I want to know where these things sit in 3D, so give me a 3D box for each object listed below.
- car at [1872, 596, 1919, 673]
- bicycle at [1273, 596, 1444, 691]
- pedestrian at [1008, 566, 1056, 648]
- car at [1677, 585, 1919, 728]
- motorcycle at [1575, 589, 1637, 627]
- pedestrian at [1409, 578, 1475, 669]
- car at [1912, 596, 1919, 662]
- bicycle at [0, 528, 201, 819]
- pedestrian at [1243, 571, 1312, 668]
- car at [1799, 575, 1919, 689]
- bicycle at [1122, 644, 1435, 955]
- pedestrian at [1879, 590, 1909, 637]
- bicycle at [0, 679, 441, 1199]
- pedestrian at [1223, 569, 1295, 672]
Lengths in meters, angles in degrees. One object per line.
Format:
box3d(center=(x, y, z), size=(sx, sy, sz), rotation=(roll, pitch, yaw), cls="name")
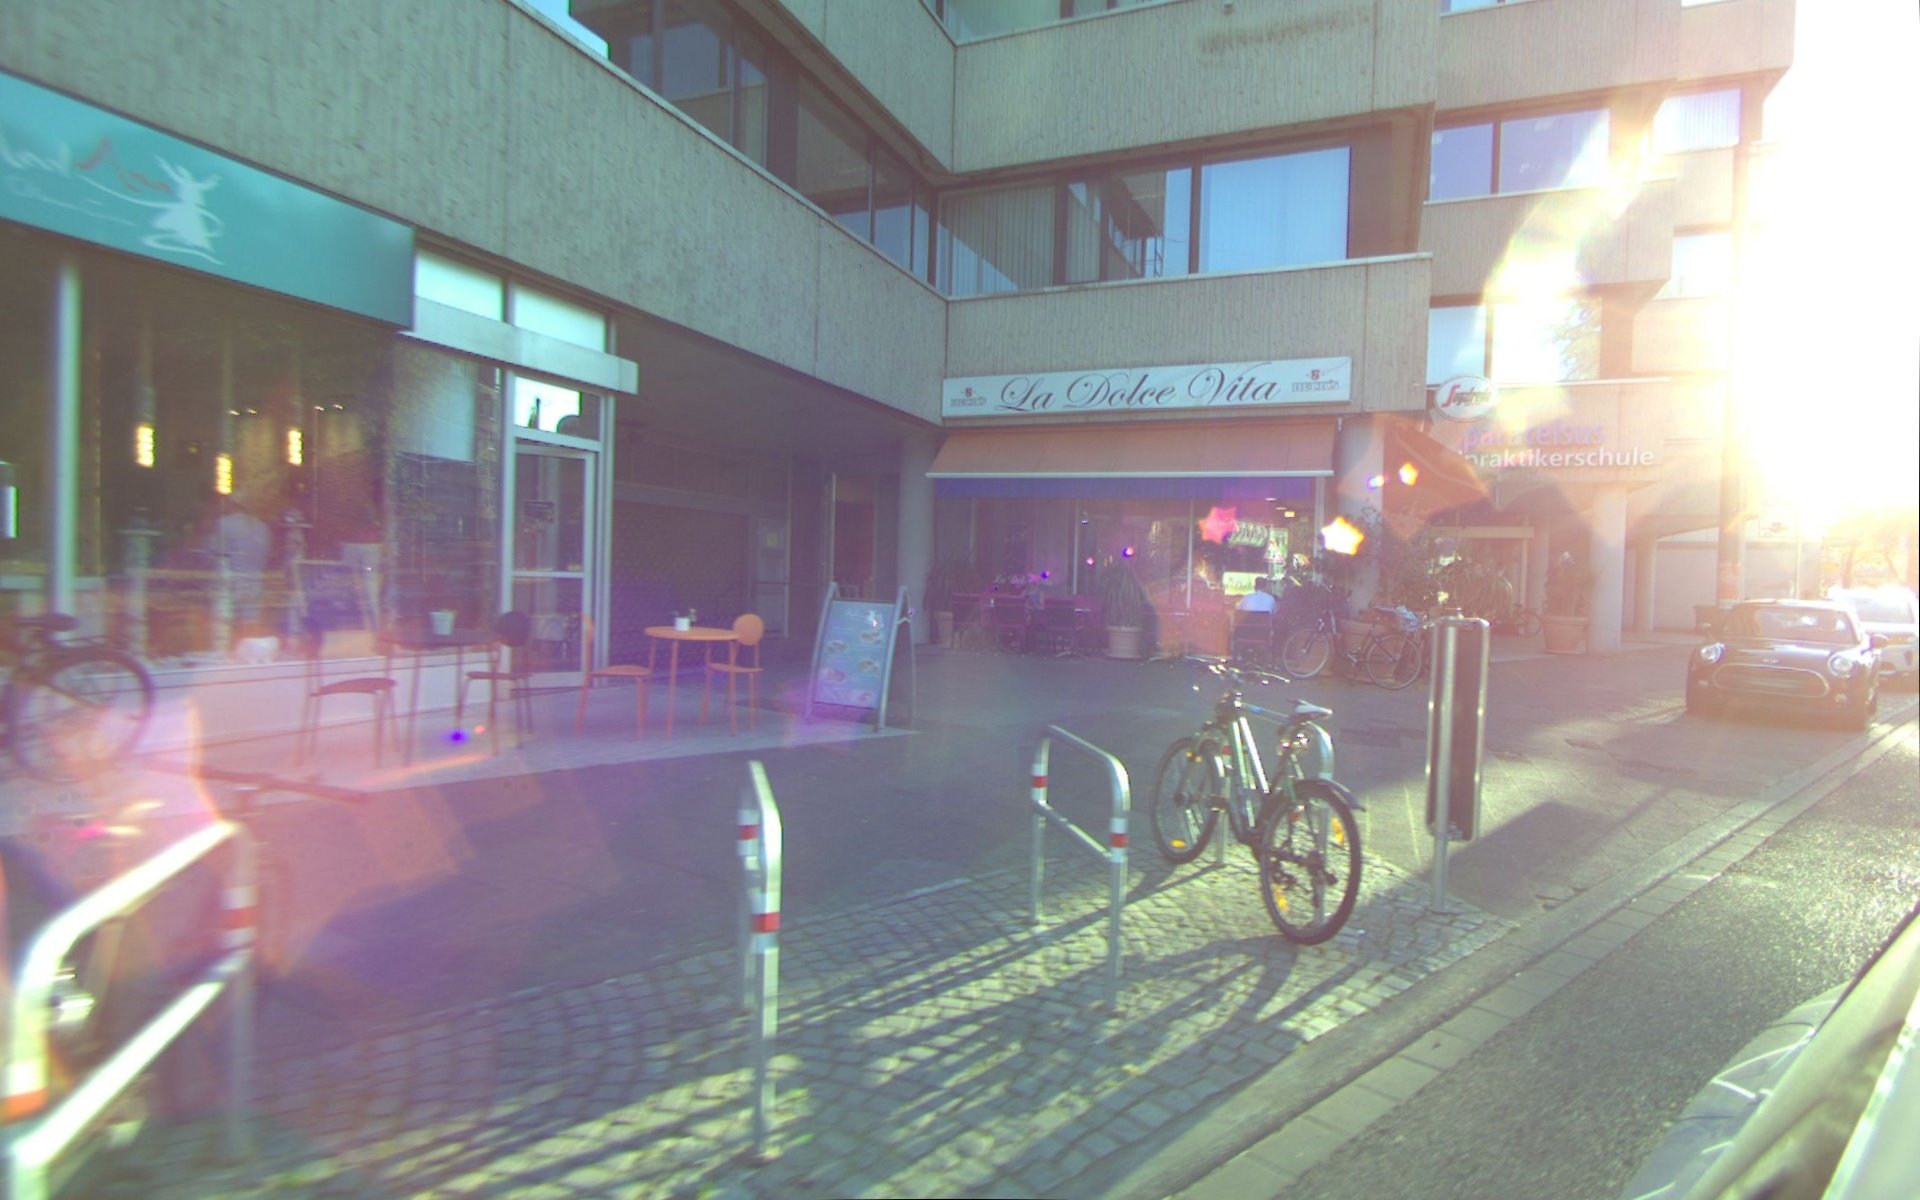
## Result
box3d(center=(20.759, 0.711, 21.453), size=(3.930, 1.547, 1.644), rotation=(1, 0, -41), cls="car")
box3d(center=(4.912, 0.518, 12.575), size=(1.862, 1.017, 0.457), rotation=(3, 2, 11), cls="bicycle")
box3d(center=(1.145, 0.106, 16.038), size=(0.552, 1.255, 0.609), rotation=(2, 0, 24), cls="pedestrian")
box3d(center=(10.698, 0.610, 12.780), size=(3.851, 1.527, 1.793), rotation=(1, 0, -40), cls="car")
box3d(center=(23.456, 0.279, 36.777), size=(0.655, 1.309, 1.800), rotation=(2, 1, -25), cls="motorcycle")
box3d(center=(7.200, 0.334, 15.148), size=(0.752, 1.314, 0.707), rotation=(0, 0, 14), cls="pedestrian")
box3d(center=(25.274, 0.731, 25.553), size=(3.605, 1.611, 1.586), rotation=(1, 0, -43), cls="car")
box3d(center=(-4.479, 0.315, 4.759), size=(0.408, 1.291, 1.663), rotation=(1, 4, 6), cls="bicycle")
box3d(center=(4.457, 0.260, 14.227), size=(0.528, 1.294, 0.706), rotation=(1, 2, -41), cls="pedestrian")
box3d(center=(16.572, 0.524, 18.167), size=(4.326, 1.827, 1.786), rotation=(1, 0, -43), cls="car")
box3d(center=(1.368, 0.813, 4.759), size=(0.530, 1.002, 1.798), rotation=(4, 2, -11), cls="bicycle")
box3d(center=(36.502, 0.531, 39.552), size=(0.634, 1.808, 0.849), rotation=(1, 0, 25), cls="pedestrian")
box3d(center=(-1.658, 0.812, 2.294), size=(0.530, 1.002, 1.798), rotation=(4, 2, -18), cls="bicycle")
box3d(center=(4.014, 0.264, 13.580), size=(0.639, 1.312, 0.697), rotation=(4, 2, 40), cls="pedestrian")
